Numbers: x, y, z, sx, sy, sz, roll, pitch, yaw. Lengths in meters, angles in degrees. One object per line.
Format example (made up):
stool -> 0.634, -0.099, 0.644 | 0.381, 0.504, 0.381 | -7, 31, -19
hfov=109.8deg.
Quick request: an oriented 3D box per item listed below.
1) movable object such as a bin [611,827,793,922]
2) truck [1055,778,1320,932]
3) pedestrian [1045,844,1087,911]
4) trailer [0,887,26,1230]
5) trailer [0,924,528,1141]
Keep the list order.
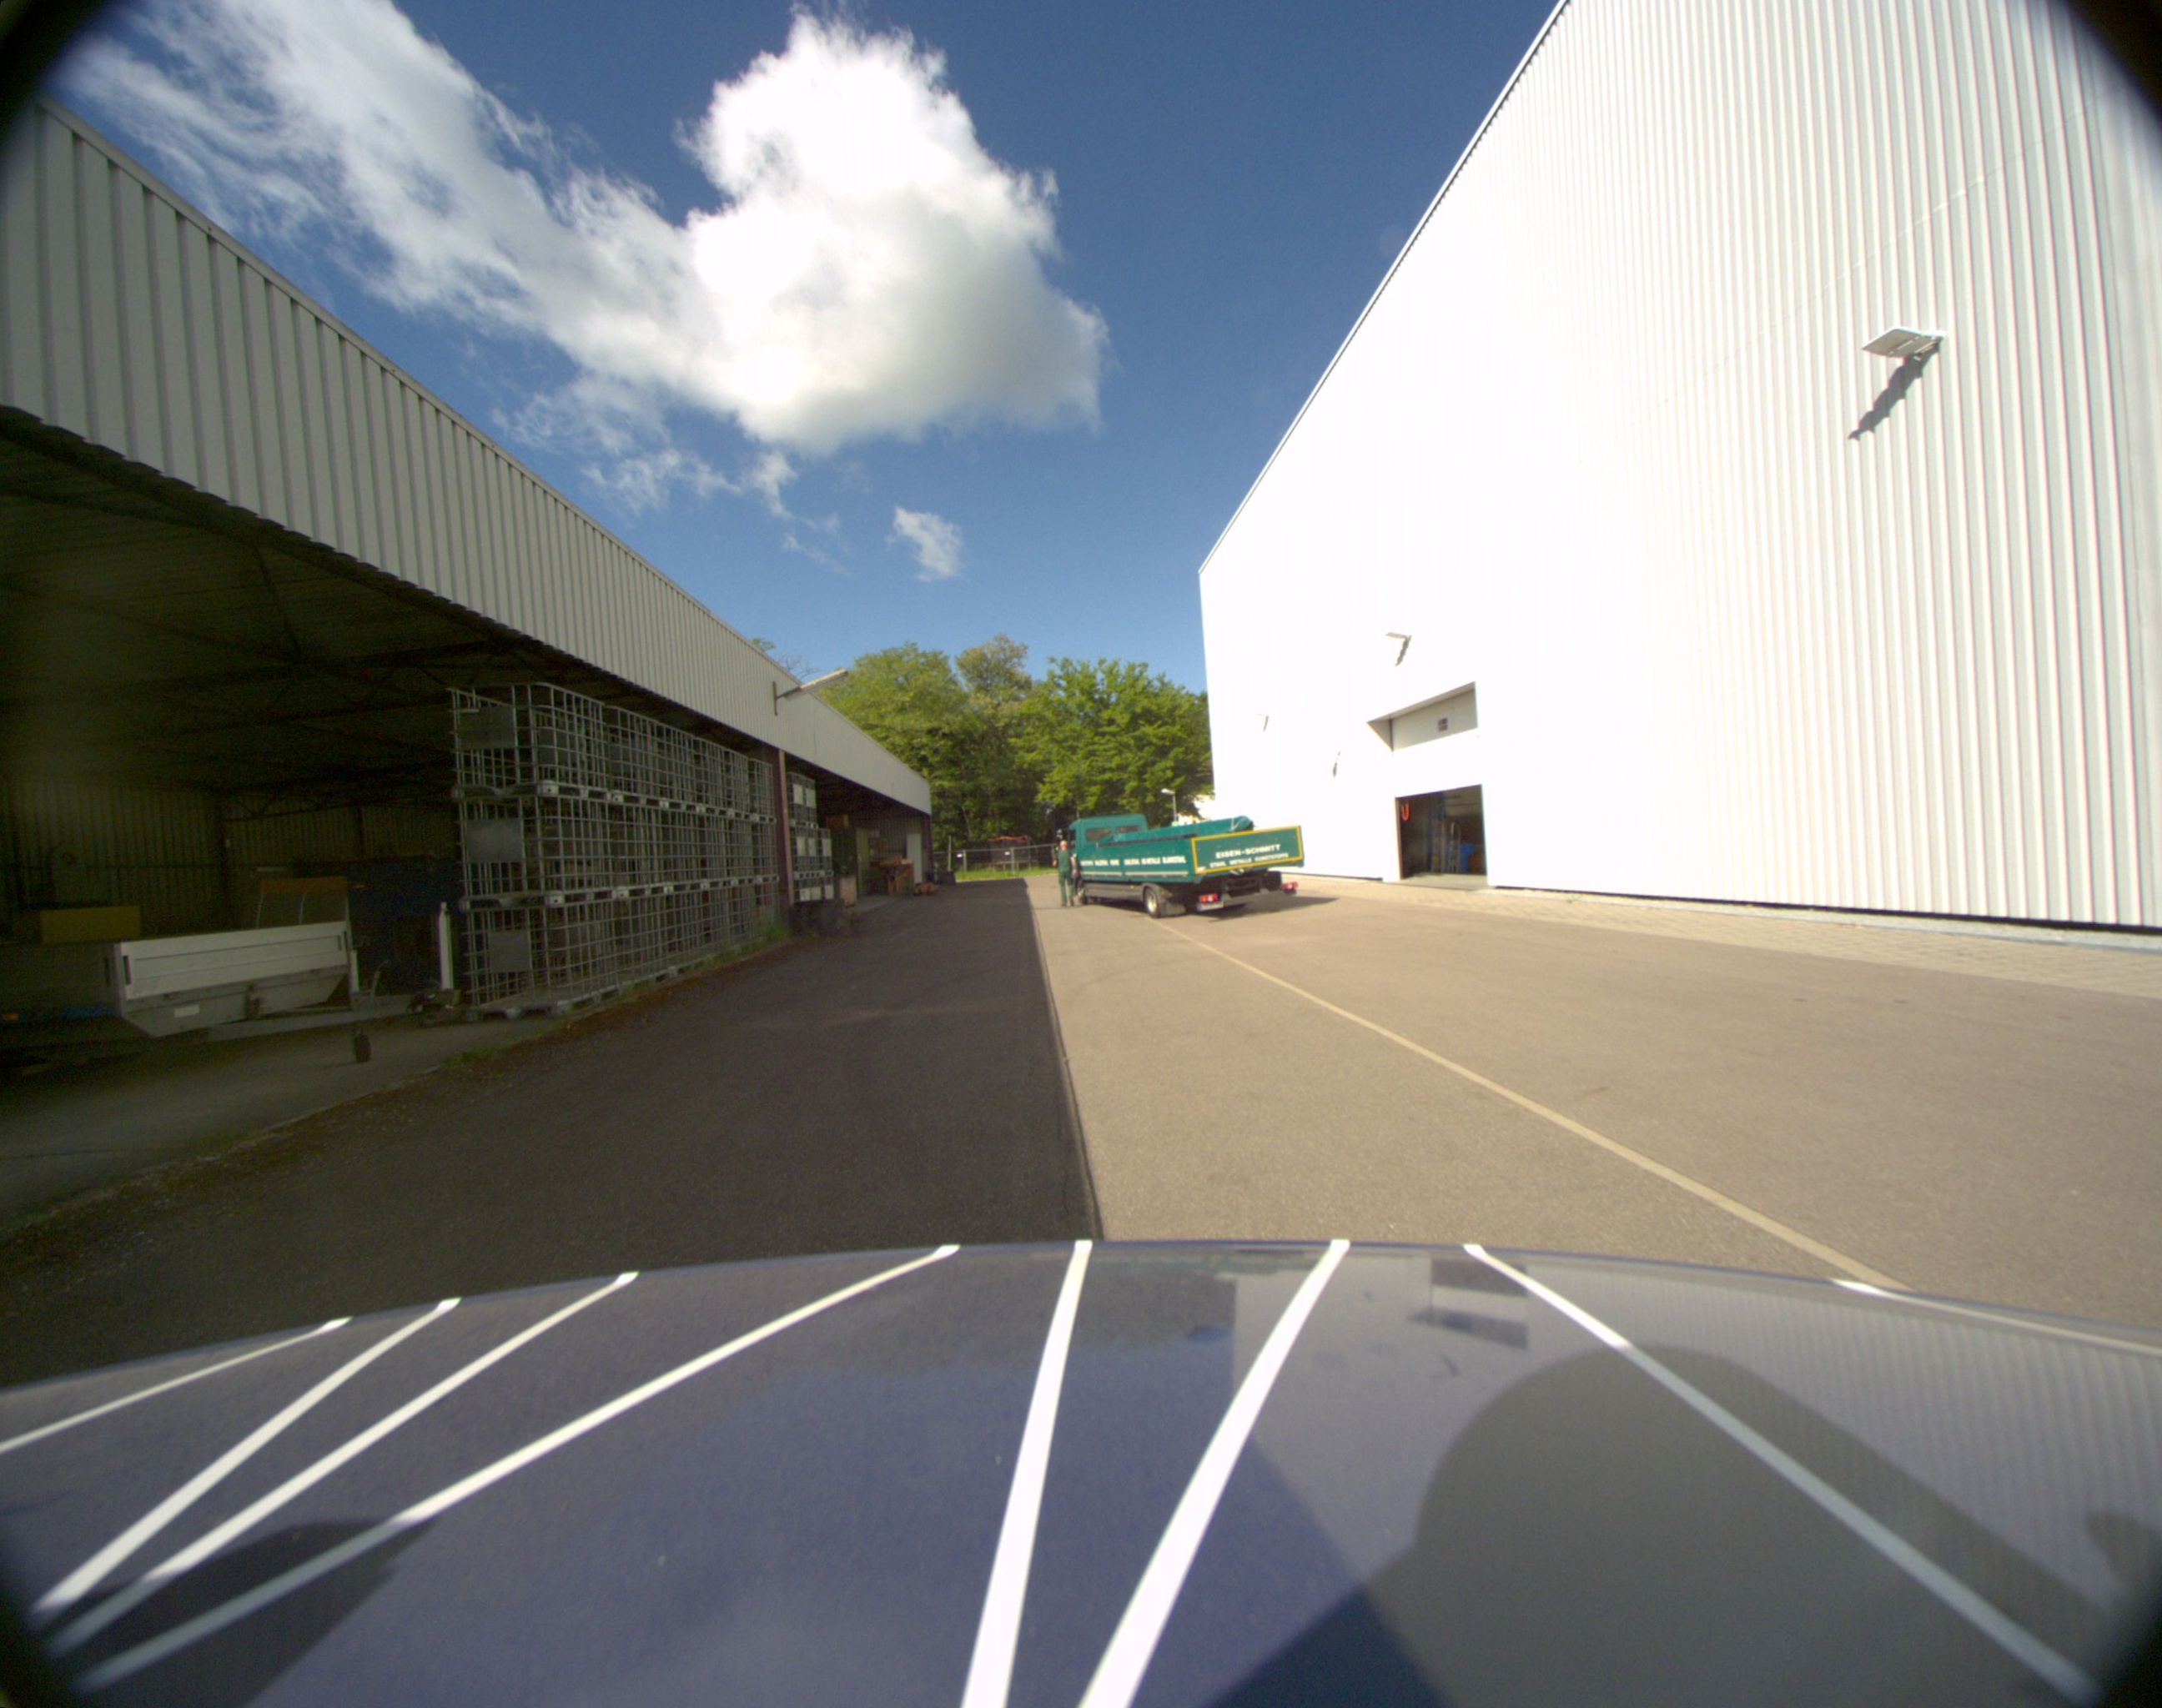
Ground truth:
movable object such as a bin -> -11.852, 0.623, 24.061 | 4.629, 2.706, 1.999 | -2, 0, -6
truck -> 1.970, 0.074, 19.307 | 2.590, 2.701, 9.682 | -7, 1, -17
pedestrian -> -0.436, 0.634, 21.266 | 0.895, 1.792, 1.038 | -2, 1, -15
trailer -> -7.705, 0.958, 2.676 | 4.830, 1.985, 2.046 | -2, 1, -2
trailer -> -8.100, 1.398, 5.993 | 5.751, 1.126, 2.008 | -3, 1, -6
